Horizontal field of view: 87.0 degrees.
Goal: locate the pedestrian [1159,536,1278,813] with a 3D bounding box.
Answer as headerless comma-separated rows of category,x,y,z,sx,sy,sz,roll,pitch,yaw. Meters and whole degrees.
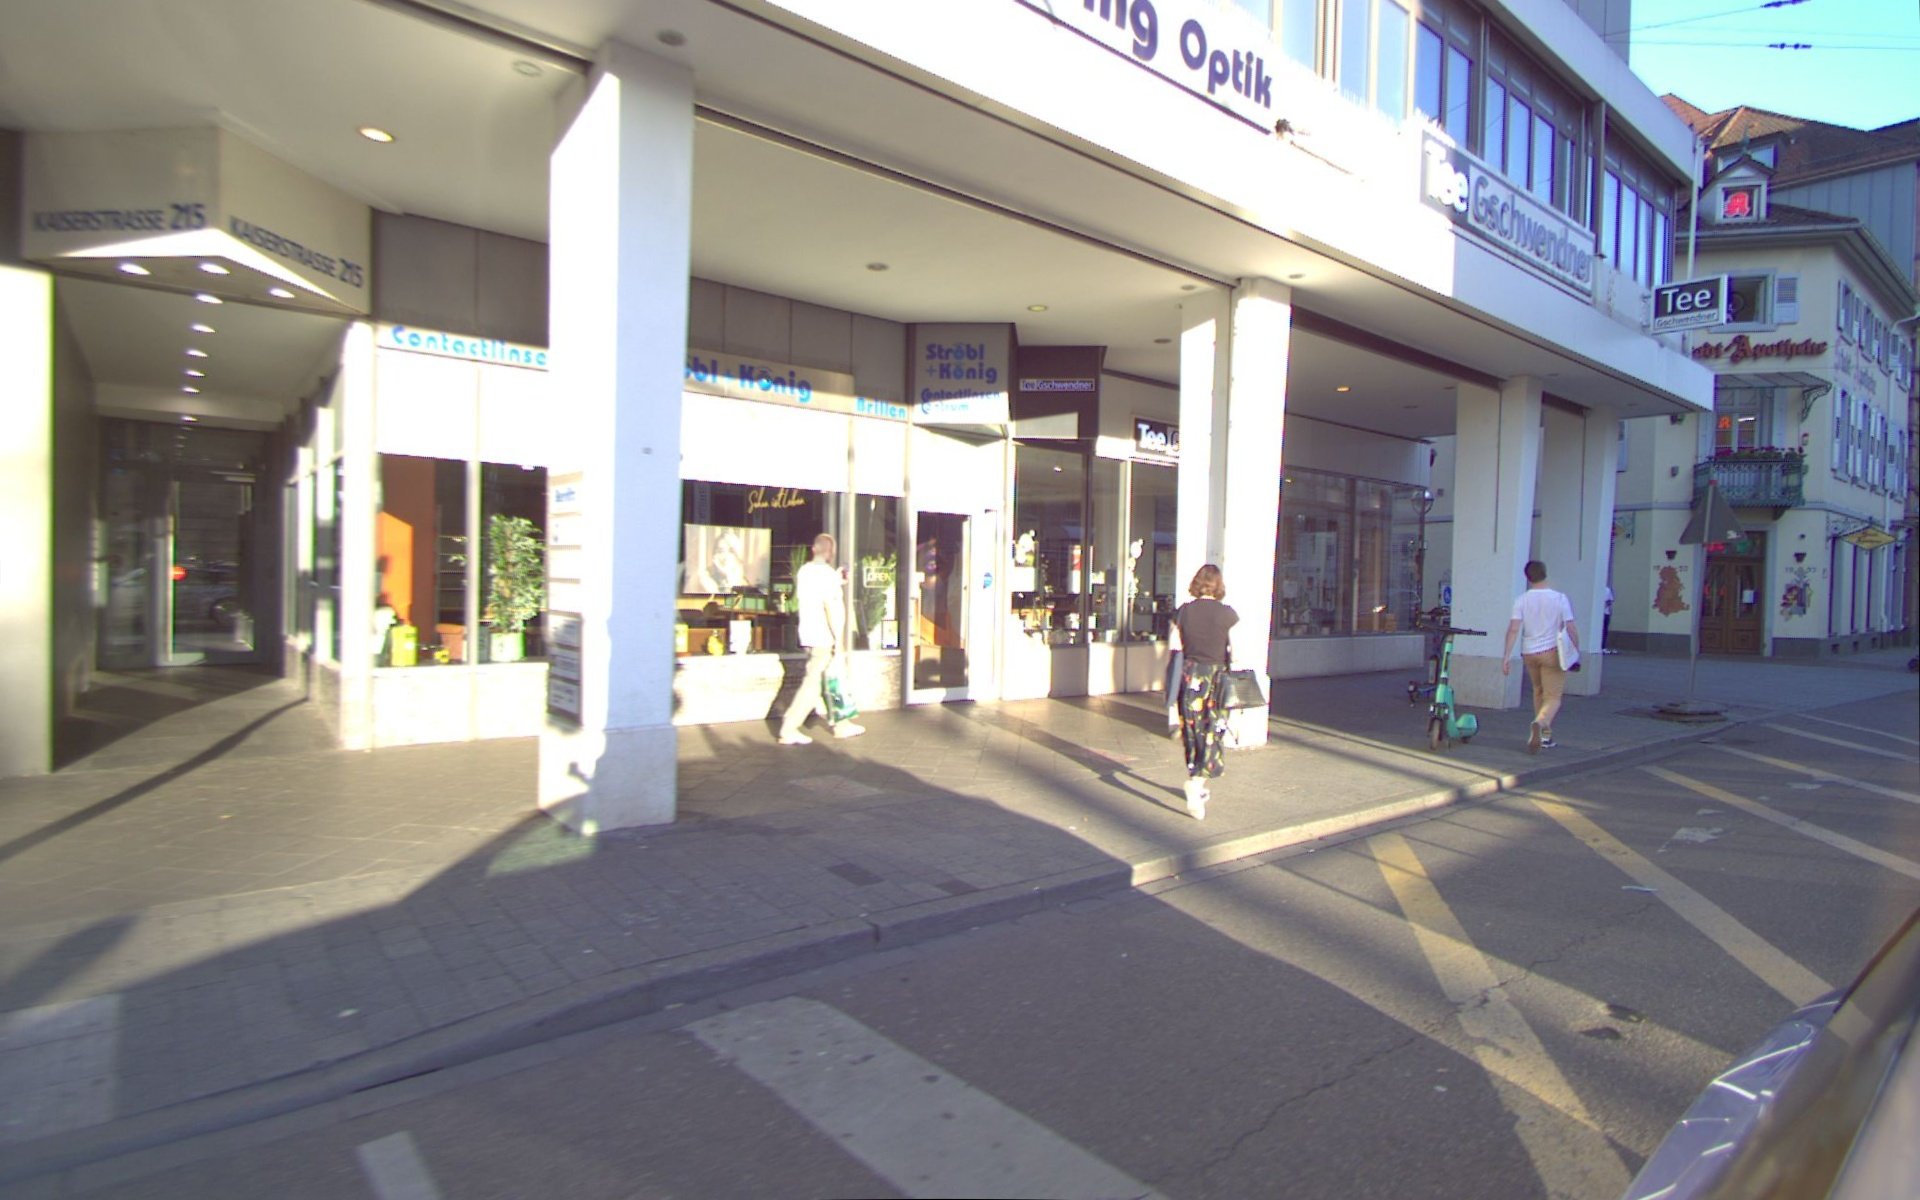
pedestrian,1.701,0.457,6.639,0.693,1.714,0.537,0,0,22

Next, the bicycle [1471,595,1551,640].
bicycle,14.953,0.460,27.476,1.809,1.196,0.773,0,0,-9

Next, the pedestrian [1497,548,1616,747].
pedestrian,5.813,0.435,9.865,0.835,1.838,0.702,0,0,-33

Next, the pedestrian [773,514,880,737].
pedestrian,-1.147,0.205,8.741,0.693,1.838,0.626,0,0,23

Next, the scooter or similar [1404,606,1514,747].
scooter or similar,4.803,0.696,9.718,1.159,1.250,0.506,0,1,-40

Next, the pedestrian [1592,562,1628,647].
pedestrian,15.886,0.097,24.737,0.536,2.039,0.642,1,1,17

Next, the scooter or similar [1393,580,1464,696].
scooter or similar,6.347,0.488,13.680,1.291,1.507,0.314,0,1,-40
